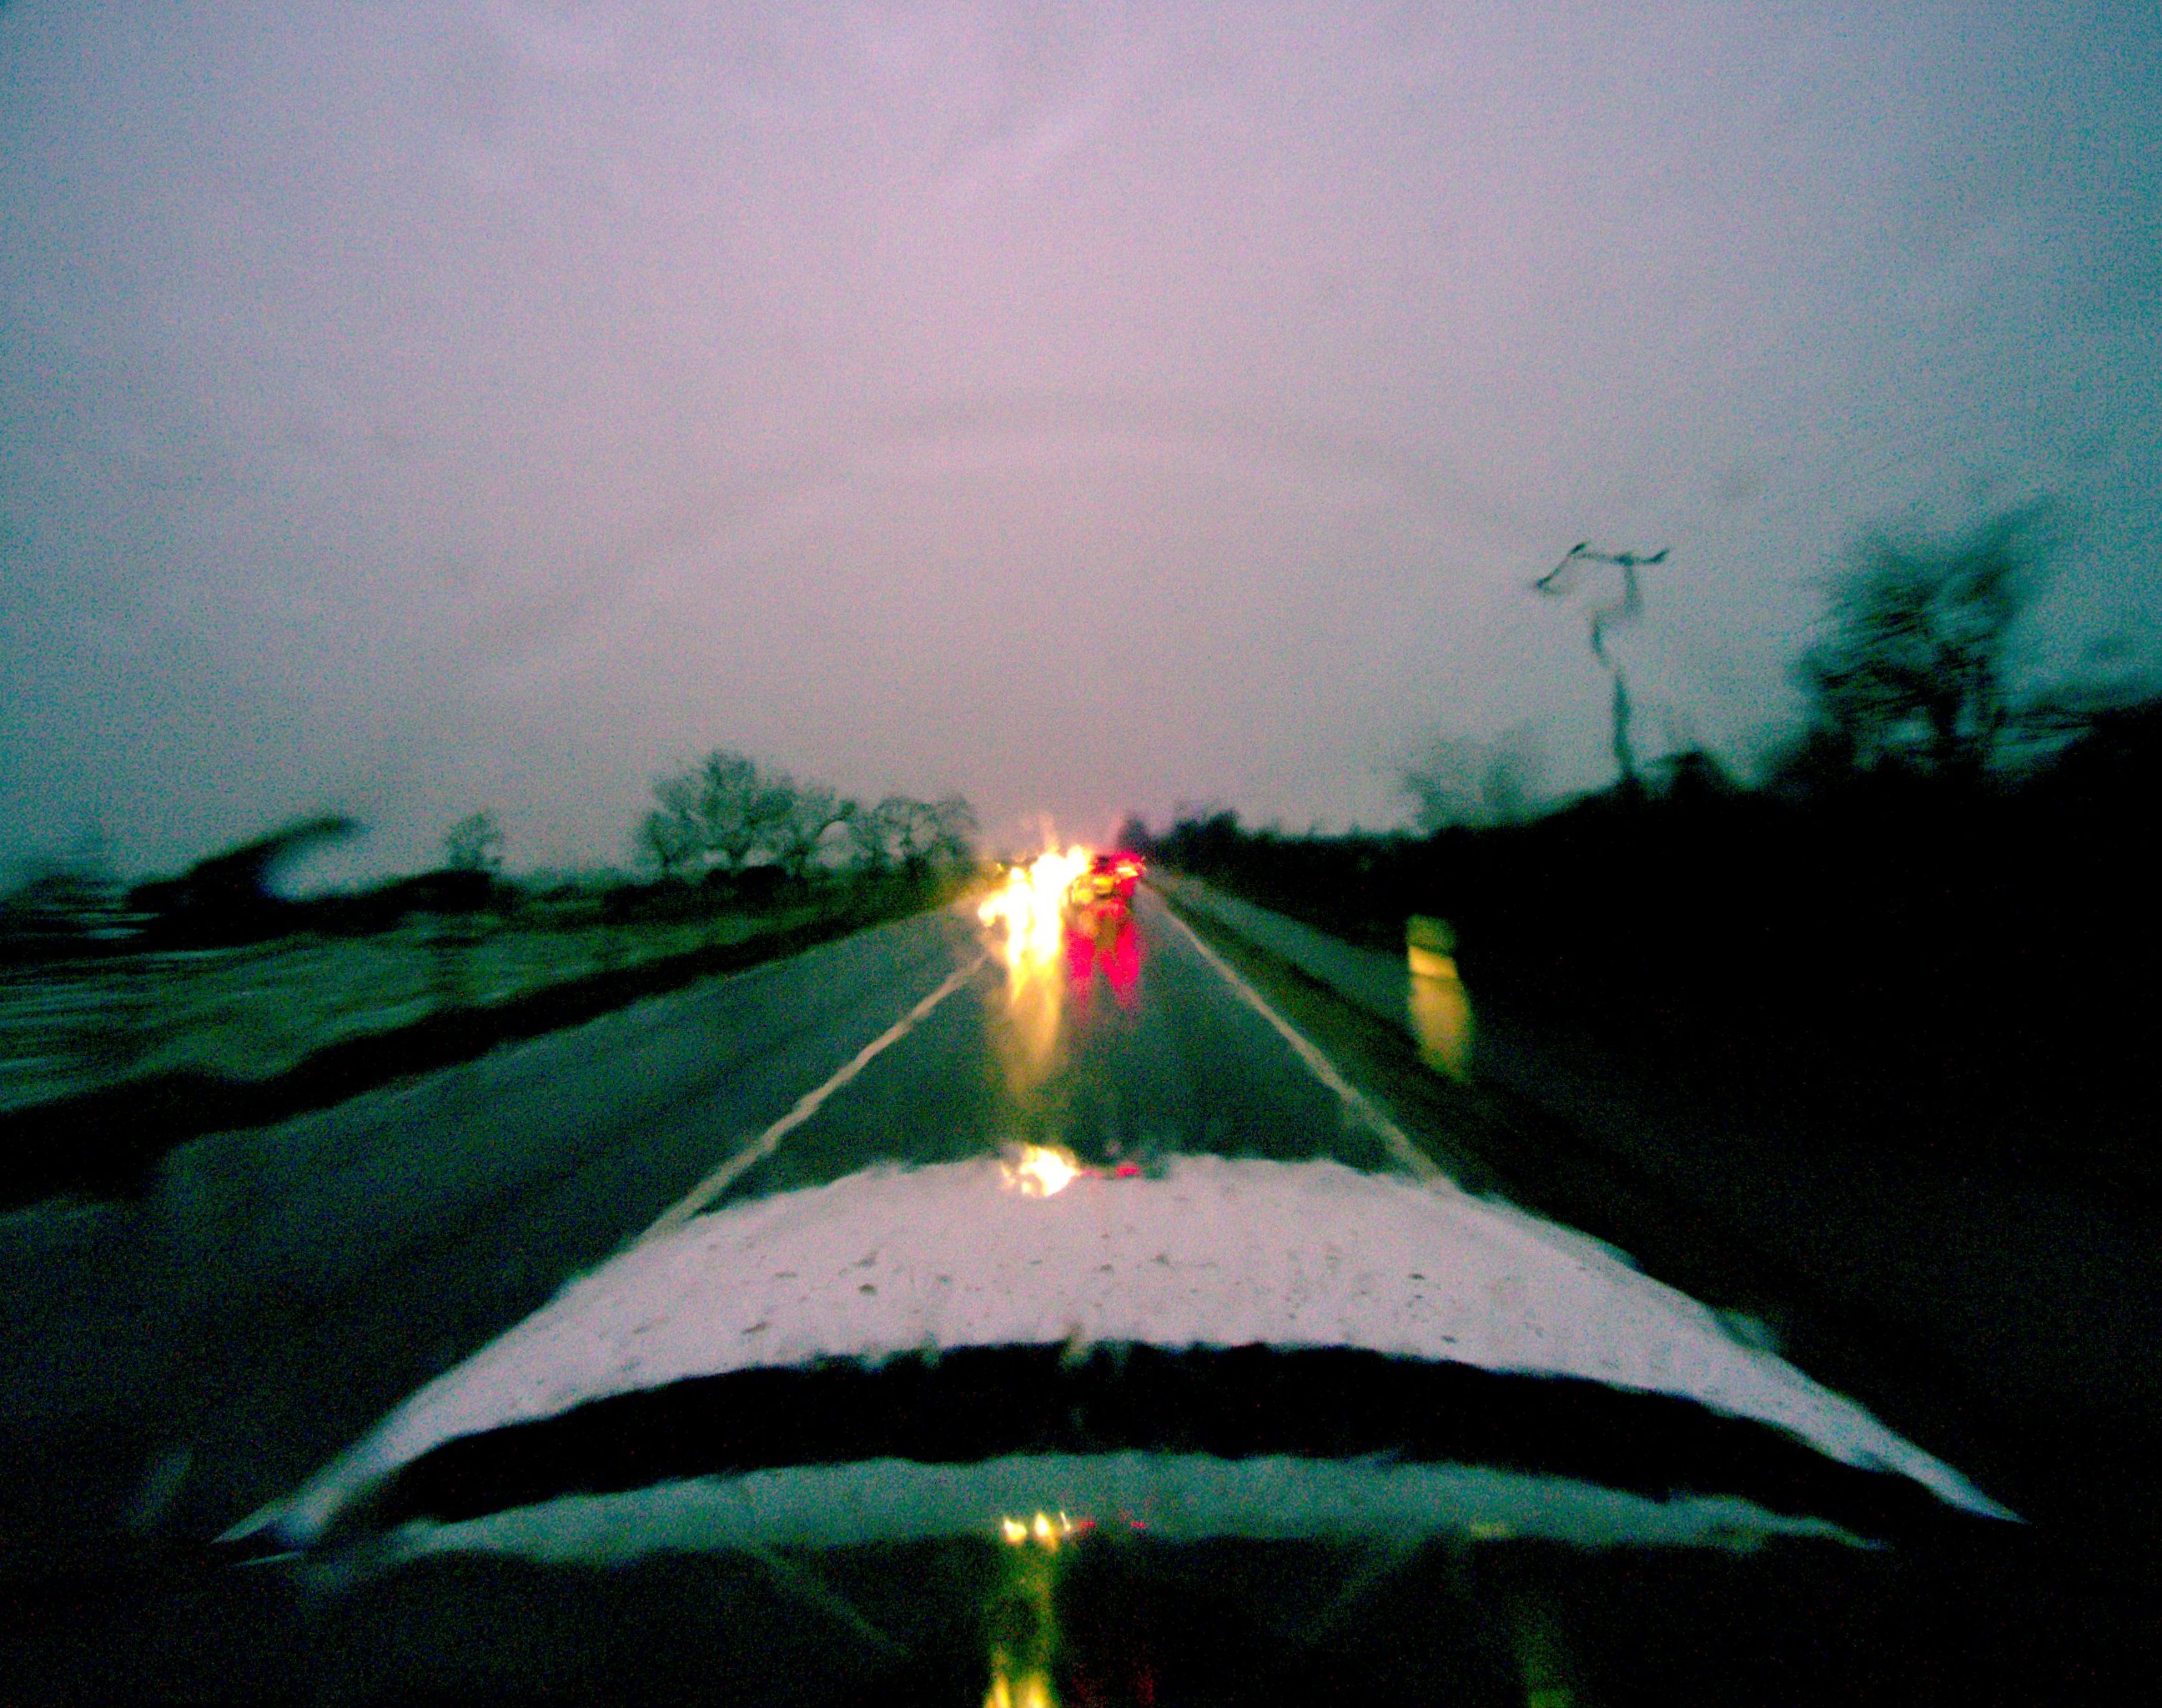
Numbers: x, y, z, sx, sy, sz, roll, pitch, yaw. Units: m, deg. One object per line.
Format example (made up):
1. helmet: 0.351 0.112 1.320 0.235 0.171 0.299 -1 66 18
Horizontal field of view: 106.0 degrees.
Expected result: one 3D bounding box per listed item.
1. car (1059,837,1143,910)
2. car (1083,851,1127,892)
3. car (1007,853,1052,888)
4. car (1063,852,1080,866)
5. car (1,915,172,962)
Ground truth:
1. car: 0.599 0.502 23.263 2.112 1.820 4.982 -1 0 2
2. car: 1.183 0.803 39.143 1.986 1.849 4.002 -1 0 2
3. car: -2.450 0.746 39.889 1.849 1.517 4.515 -4 0 -1
4. car: -1.091 0.573 95.796 1.755 1.555 4.002 -3 0 2
5. car: -33.972 2.854 27.922 3.444 1.342 1.592 -1 0 -13
